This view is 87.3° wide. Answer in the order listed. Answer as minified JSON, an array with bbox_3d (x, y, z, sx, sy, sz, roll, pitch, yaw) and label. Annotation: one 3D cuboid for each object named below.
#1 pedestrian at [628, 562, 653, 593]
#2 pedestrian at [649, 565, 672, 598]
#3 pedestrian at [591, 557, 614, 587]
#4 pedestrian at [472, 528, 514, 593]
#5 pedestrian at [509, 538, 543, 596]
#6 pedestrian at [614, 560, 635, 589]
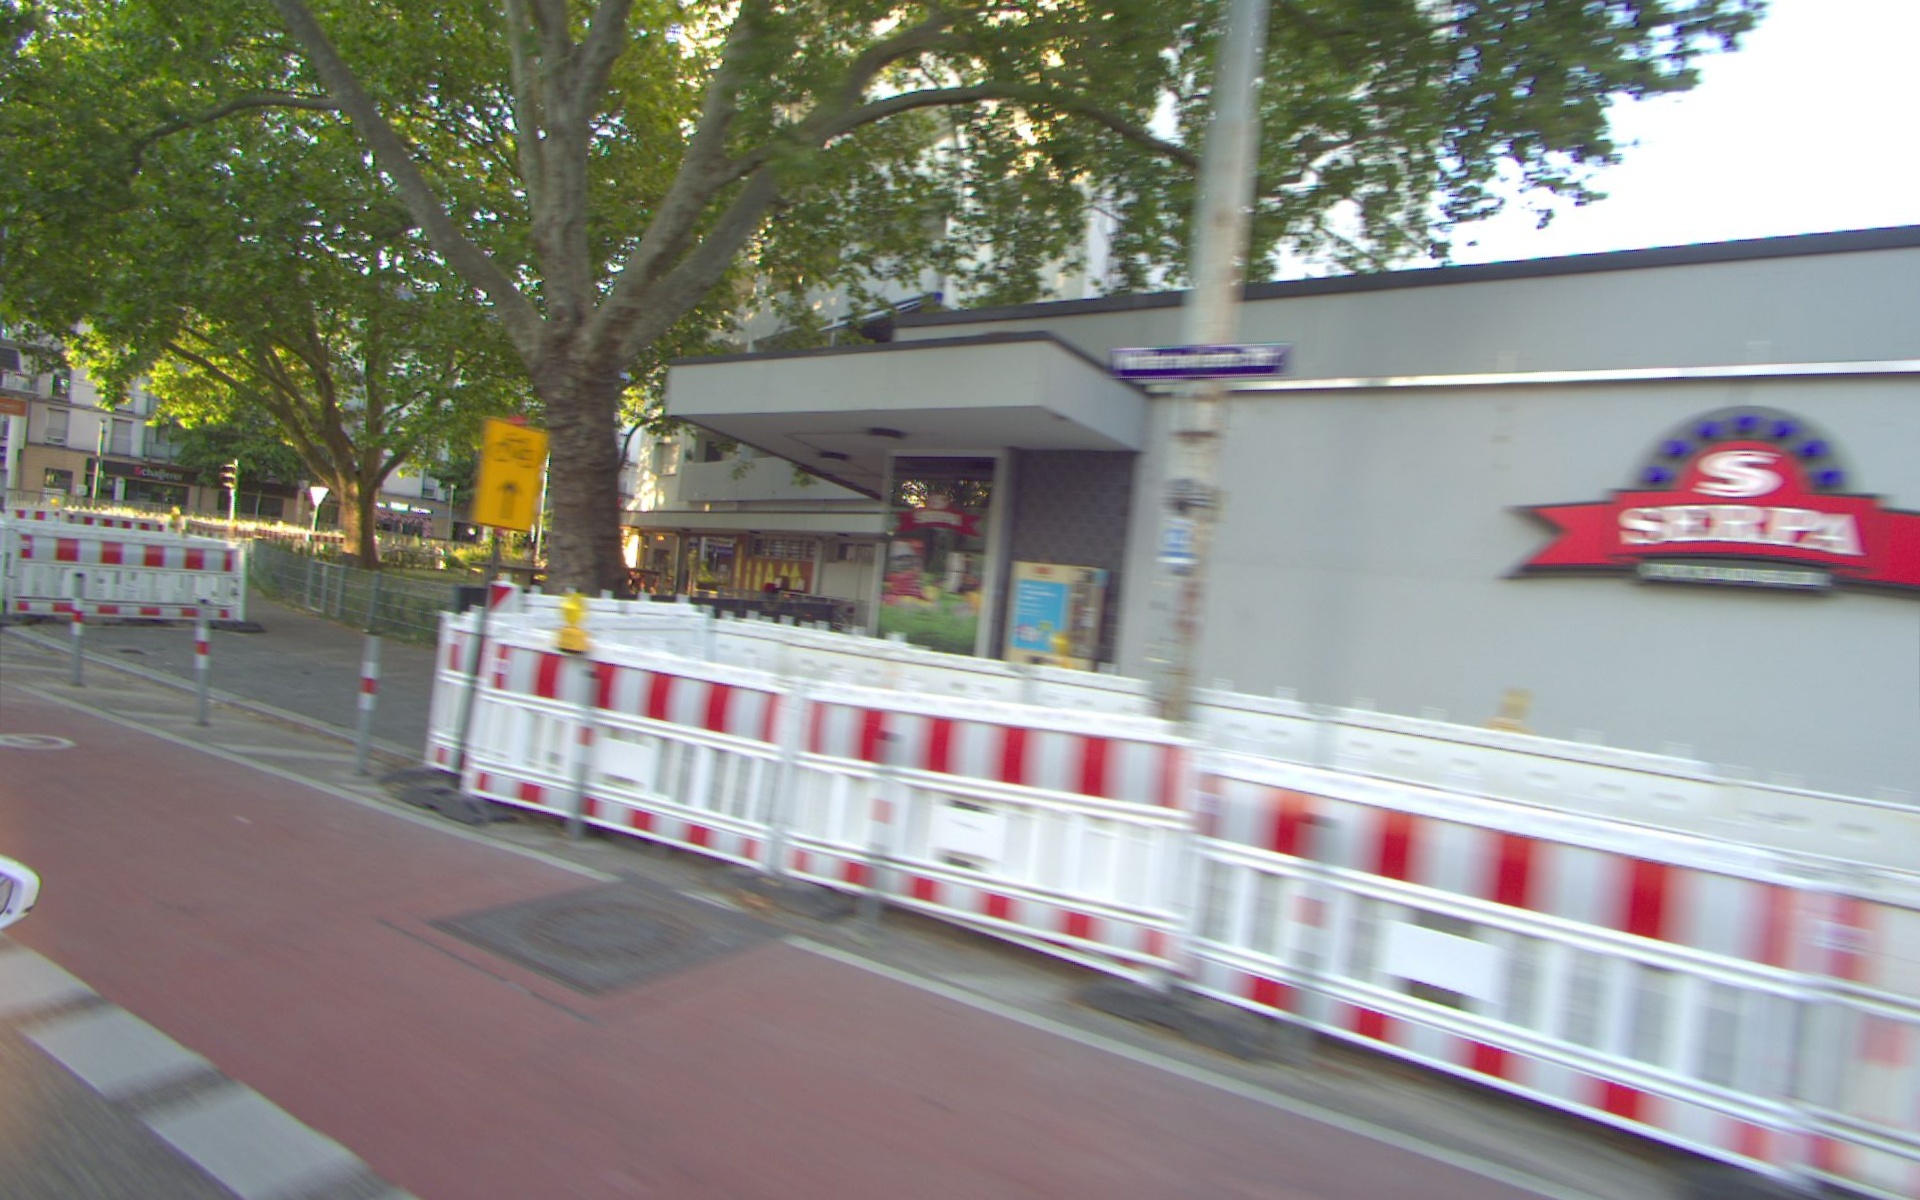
[{"bbox_3d":[-13.122,-0.927,41.302,0.665,1.150,0.618,6,1,-43],"label":"pedestrian"},{"bbox_3d":[-11.732,-0.721,39.374,0.538,1.193,0.558,7,1,16],"label":"pedestrian"},{"bbox_3d":[-14.525,-1.146,40.885,0.626,1.126,0.569,6,1,-44],"label":"pedestrian"},{"bbox_3d":[-13.647,-1.156,29.390,0.704,1.780,0.663,7,1,13],"label":"pedestrian"},{"bbox_3d":[-13.983,-1.055,32.430,0.711,1.780,0.656,6,1,-36],"label":"pedestrian"},{"bbox_3d":[-14.197,-1.061,42.629,0.596,1.143,0.625,7,1,-5],"label":"pedestrian"}]
